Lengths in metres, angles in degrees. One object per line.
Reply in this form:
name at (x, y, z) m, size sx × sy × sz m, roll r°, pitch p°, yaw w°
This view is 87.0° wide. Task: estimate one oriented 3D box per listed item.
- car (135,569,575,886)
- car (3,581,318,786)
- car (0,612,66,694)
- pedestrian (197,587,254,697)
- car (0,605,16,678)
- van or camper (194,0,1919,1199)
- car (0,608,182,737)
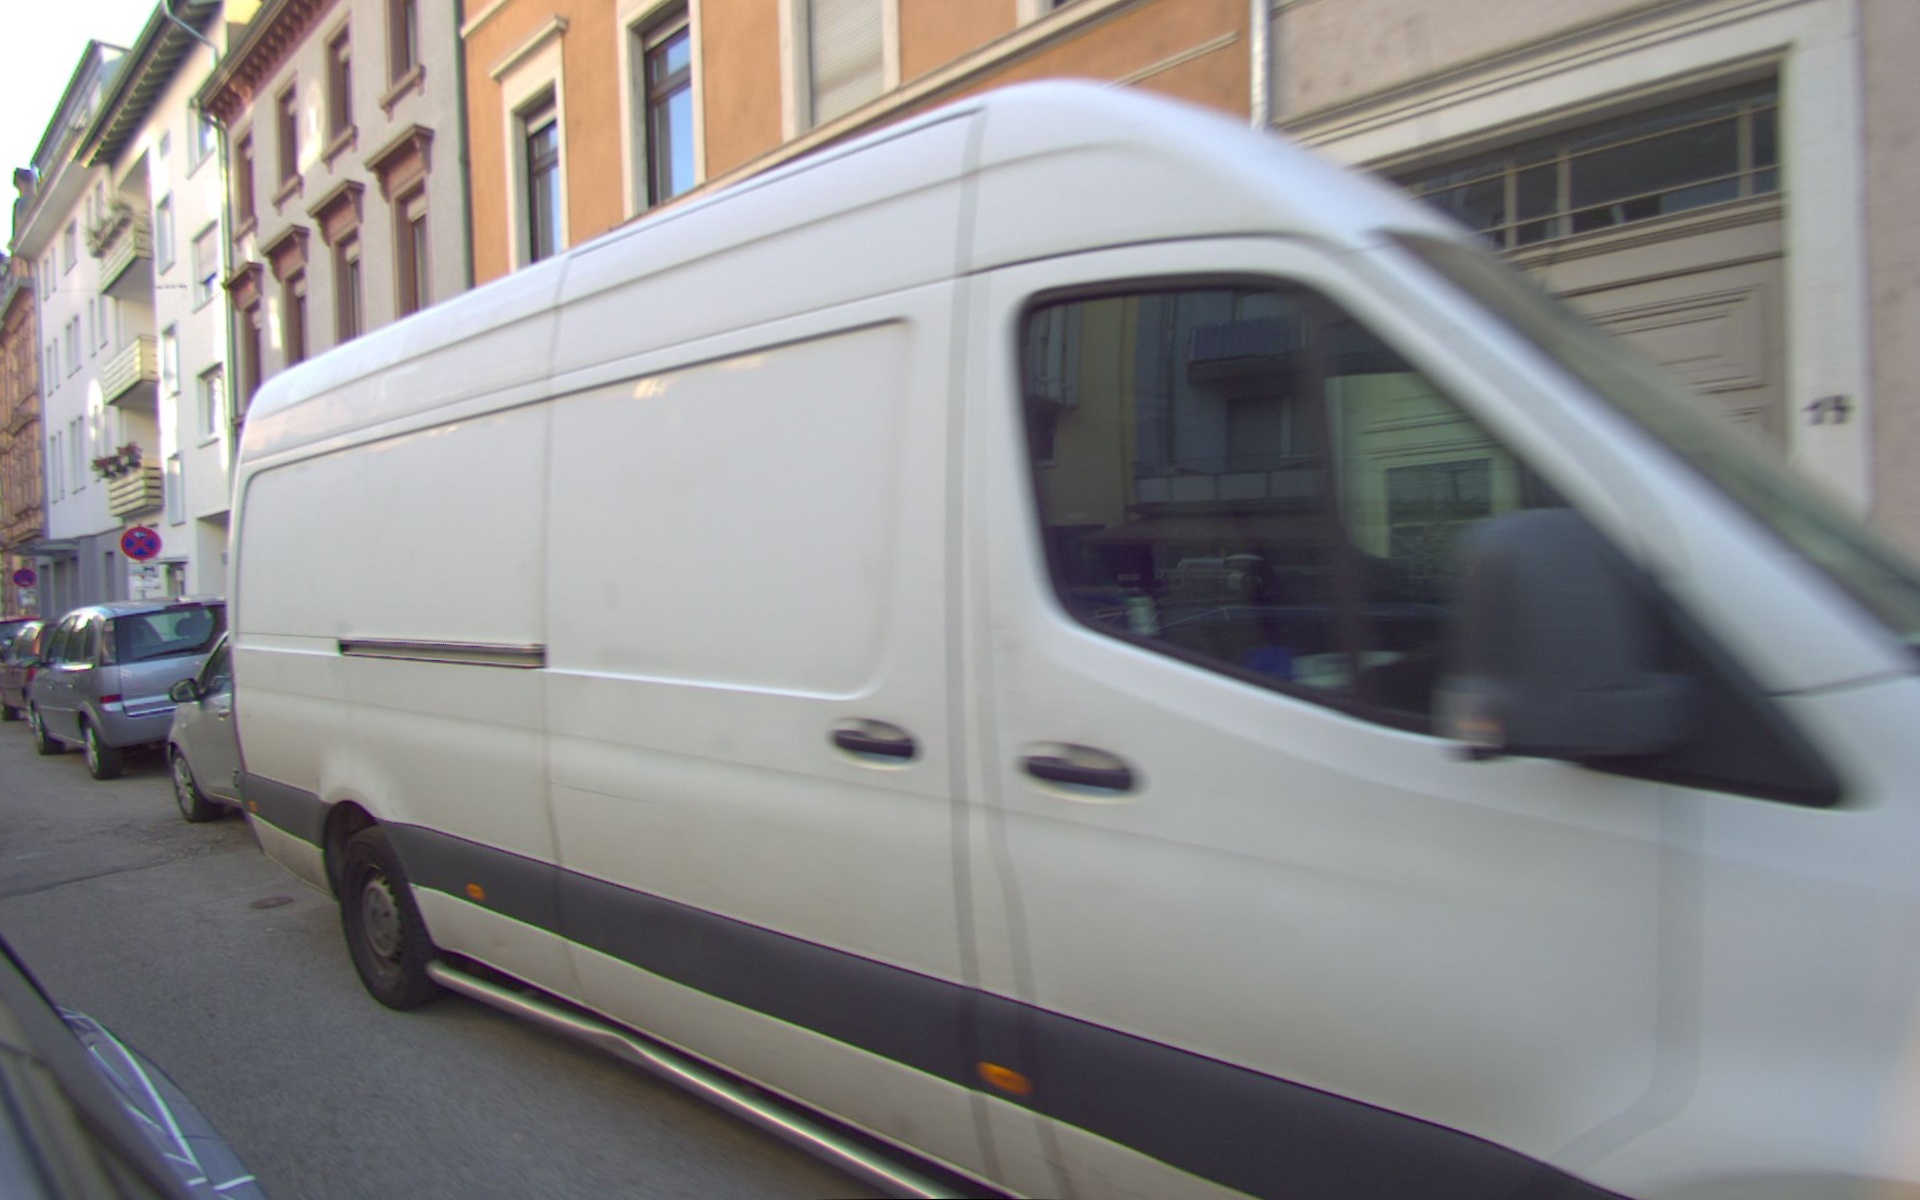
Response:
car at (-4.479, 0.710, 7.289) m, size 3.650 × 1.698 × 1.574 m, roll -1°, pitch 1°, yaw 40°
car at (-8.461, 0.748, 10.596) m, size 3.976 × 1.656 × 1.695 m, roll -1°, pitch 3°, yaw 40°
car at (-20.035, 1.112, 21.188) m, size 1.650 × 1.496 × 3.608 m, roll -9°, pitch 6°, yaw -44°
pedestrian at (-11.455, 0.643, 15.786) m, size 0.665 × 1.650 × 0.490 m, roll -1°, pitch 2°, yaw 41°
car at (-27.181, 1.151, 27.249) m, size 4.580 × 1.872 × 1.974 m, roll -1°, pitch 1°, yaw 40°
van or camper at (-0.224, 0.100, 3.270) m, size 7.133 × 2.669 × 1.930 m, roll -1°, pitch 0°, yaw 39°
car at (-12.555, 0.945, 14.339) m, size 3.283 × 1.458 × 1.641 m, roll -1°, pitch 4°, yaw 40°
